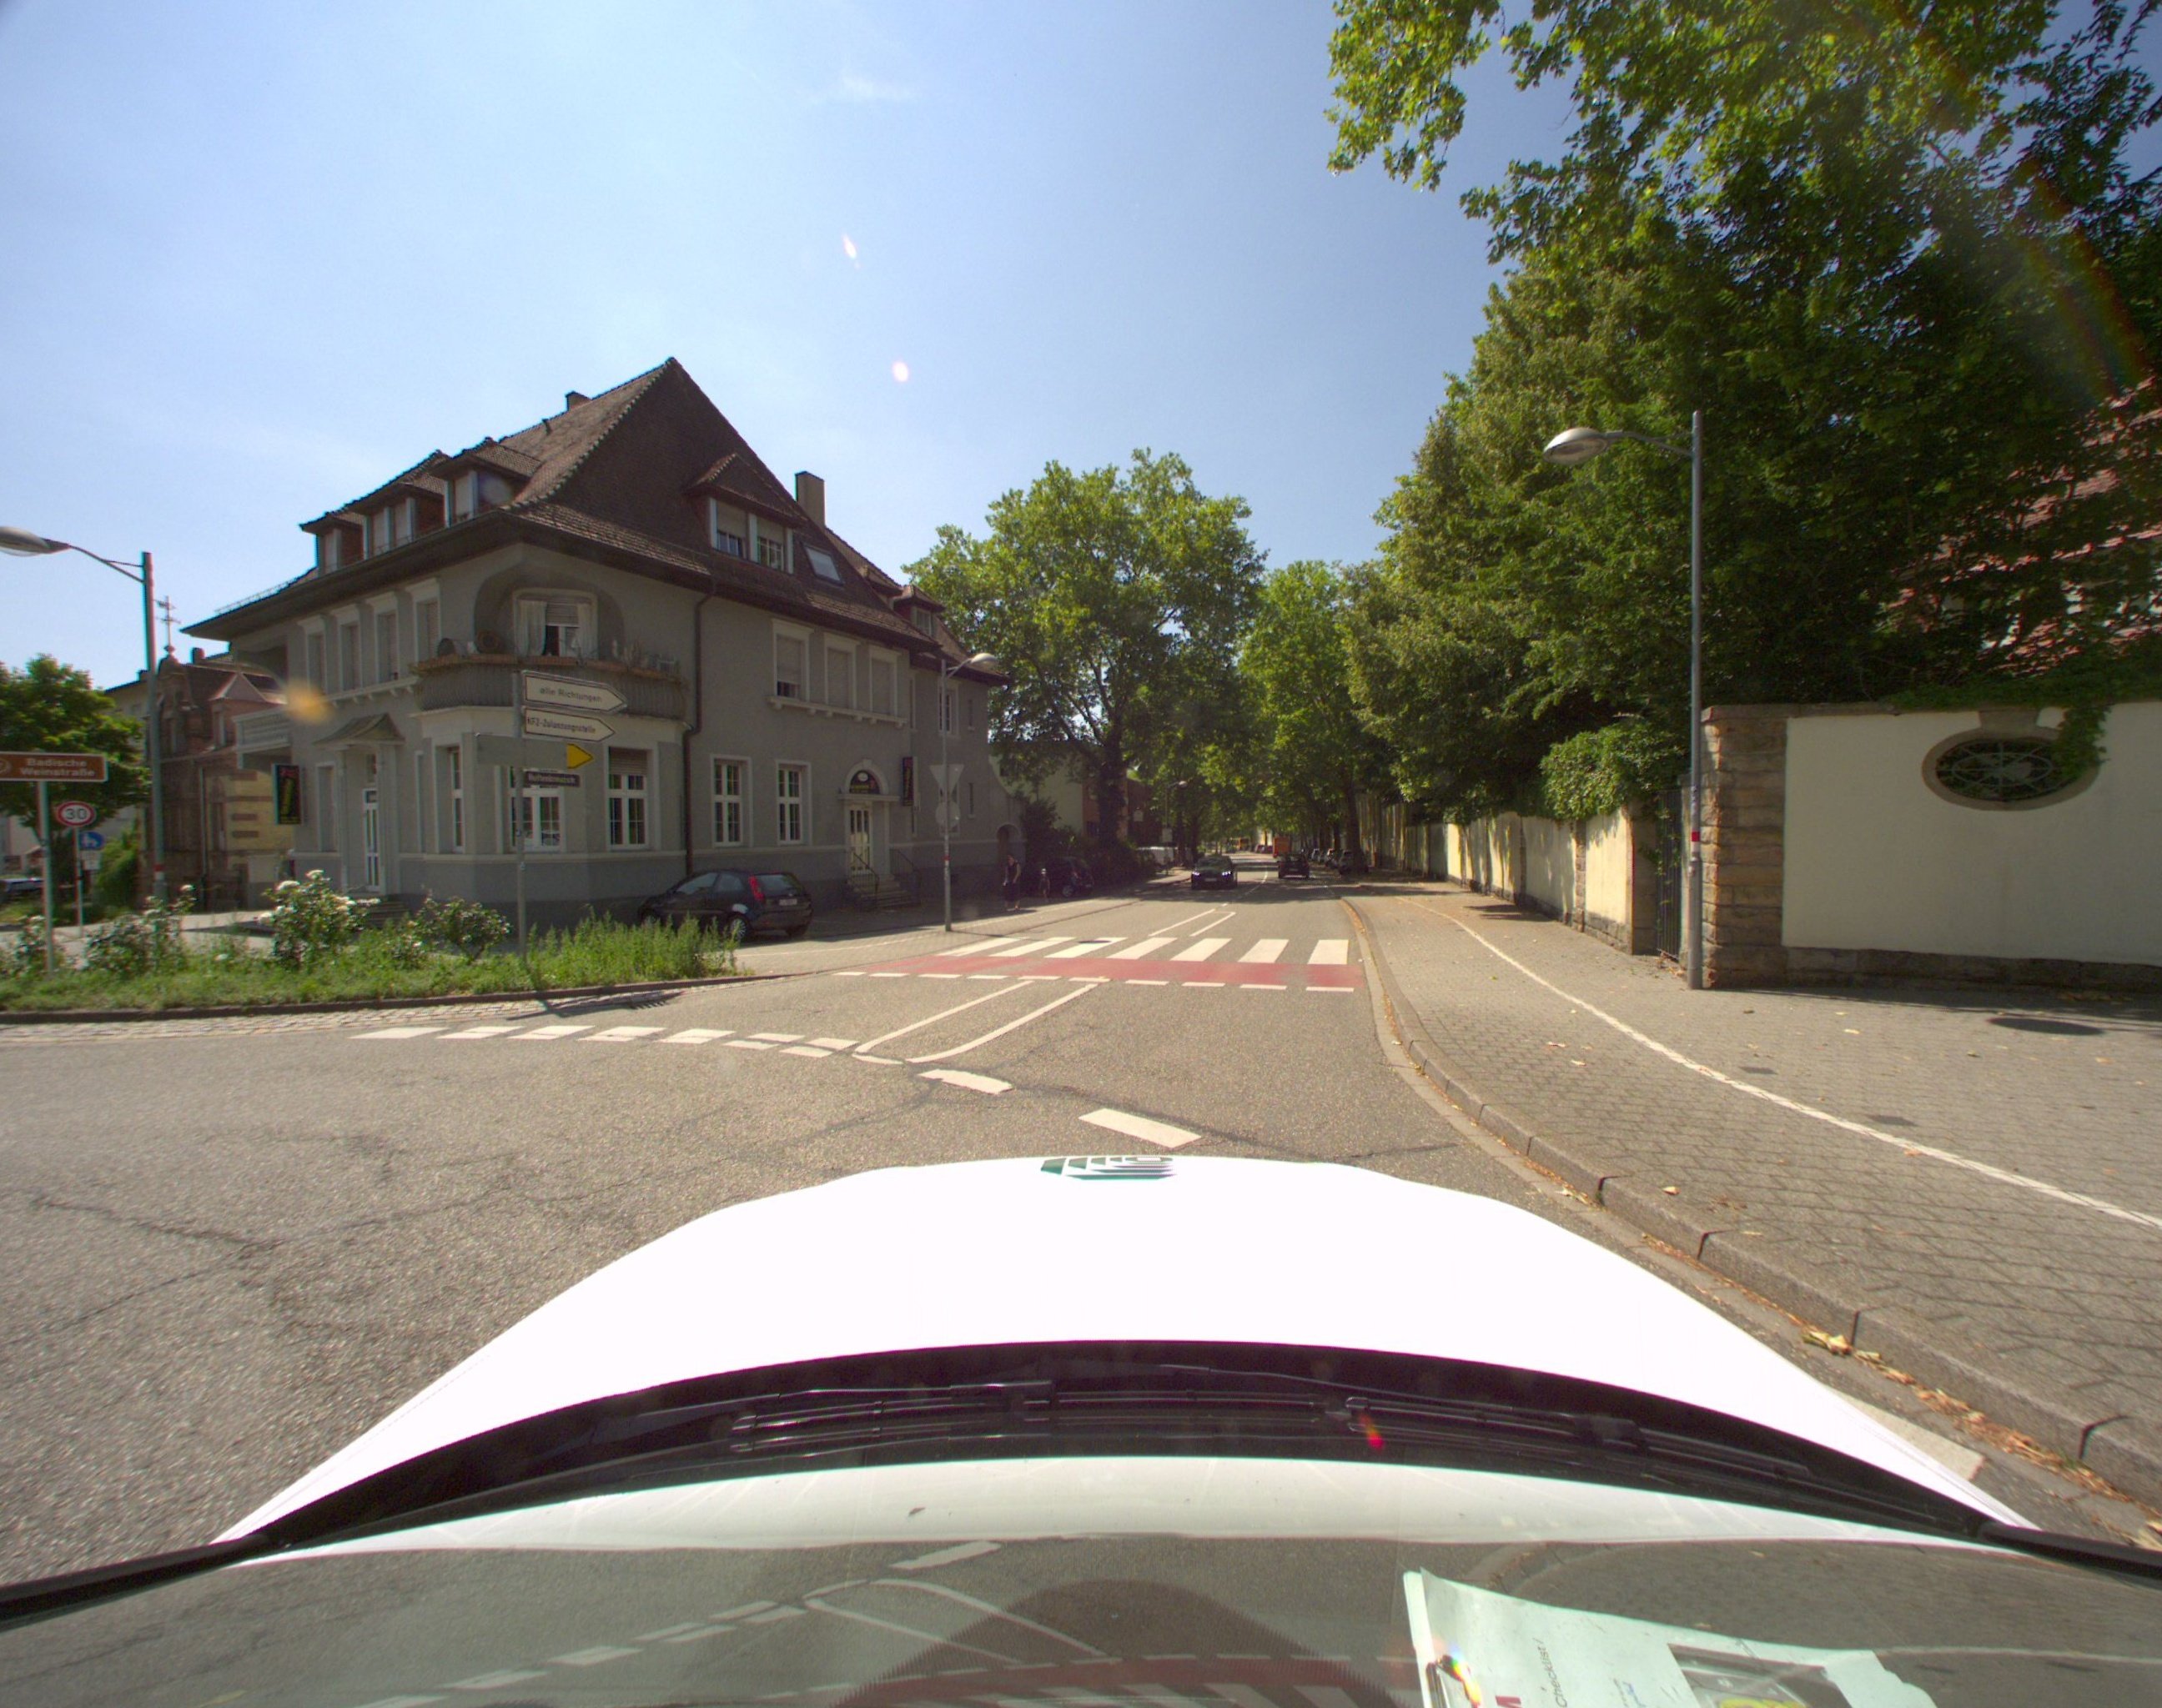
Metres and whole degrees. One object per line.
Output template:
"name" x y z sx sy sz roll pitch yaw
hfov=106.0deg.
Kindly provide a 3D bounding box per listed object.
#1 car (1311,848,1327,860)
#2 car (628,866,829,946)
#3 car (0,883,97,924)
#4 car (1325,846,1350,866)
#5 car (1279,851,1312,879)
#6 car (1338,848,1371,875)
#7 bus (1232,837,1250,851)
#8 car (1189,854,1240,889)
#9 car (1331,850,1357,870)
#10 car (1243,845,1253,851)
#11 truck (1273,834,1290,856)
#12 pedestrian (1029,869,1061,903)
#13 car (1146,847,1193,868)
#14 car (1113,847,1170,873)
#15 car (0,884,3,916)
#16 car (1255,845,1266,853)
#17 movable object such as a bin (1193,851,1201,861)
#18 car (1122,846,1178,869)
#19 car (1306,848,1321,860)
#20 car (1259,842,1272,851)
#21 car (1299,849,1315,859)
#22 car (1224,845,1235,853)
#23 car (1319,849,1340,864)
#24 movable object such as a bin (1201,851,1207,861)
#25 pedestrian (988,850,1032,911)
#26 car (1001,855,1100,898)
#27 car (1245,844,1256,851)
"car" 29.138 -0.021 99.669 1.566 1.466 3.889 -2 0 13
"car" -7.329 1.038 16.941 3.746 1.460 1.734 -1 0 24
"car" -42.539 1.980 33.339 4.363 1.509 2.012 -1 0 28
"car" 23.635 0.176 75.146 1.795 1.689 4.770 -2 0 14
"car" 12.278 0.586 46.815 1.699 1.447 4.073 -1 1 13
"car" 17.482 0.435 52.219 1.728 1.557 4.800 -3 0 16
"bus" 39.912 -2.496 203.635 2.653 3.150 11.202 -1 0 2
"car" 5.996 0.750 36.242 1.756 1.426 4.410 -1 0 15
"car" 20.508 0.437 63.694 1.609 1.439 4.450 -2 0 14
"car" 38.239 -1.422 186.402 1.760 1.374 3.732 -2 0 2
"truck" 30.155 -1.351 122.642 2.354 3.134 5.788 -1 -1 12
"pedestrian" -1.216 1.073 27.474 0.747 1.122 0.902 -1 0 20
"car" 8.173 0.310 74.981 4.102 1.804 1.909 1 0 11
"car" 4.496 0.428 60.125 3.961 1.792 1.874 1 0 11
"car" -53.318 2.241 38.590 4.363 1.509 2.012 -1 0 28
"car" 36.605 -0.997 166.165 1.868 1.685 4.010 -1 -1 9
"movable object such as a bin" 13.154 0.209 92.401 0.729 1.078 0.704 -1 0 14
"car" 5.725 0.266 67.245 4.394 1.804 1.909 1 0 11
"car" 31.931 -0.021 111.984 1.754 1.466 3.889 -2 0 13
"car" 36.027 -1.403 159.084 1.869 1.685 4.007 -1 -1 7
"car" 33.535 -0.058 120.925 1.756 1.374 3.740 -2 0 9
"car" 30.762 -1.019 168.605 1.982 1.666 4.010 -1 -1 9
"car" 26.041 0.279 85.399 1.754 1.433 3.889 -2 0 13
"movable object such as a bin" 13.964 0.217 92.580 0.618 1.048 0.623 -1 0 20
"pedestrian" -2.113 0.776 24.262 0.864 1.742 1.118 -1 0 20
"car" -1.179 0.865 31.597 3.351 1.546 1.734 -1 0 24
"car" 37.022 -1.420 178.251 1.760 1.374 3.731 -2 0 1
